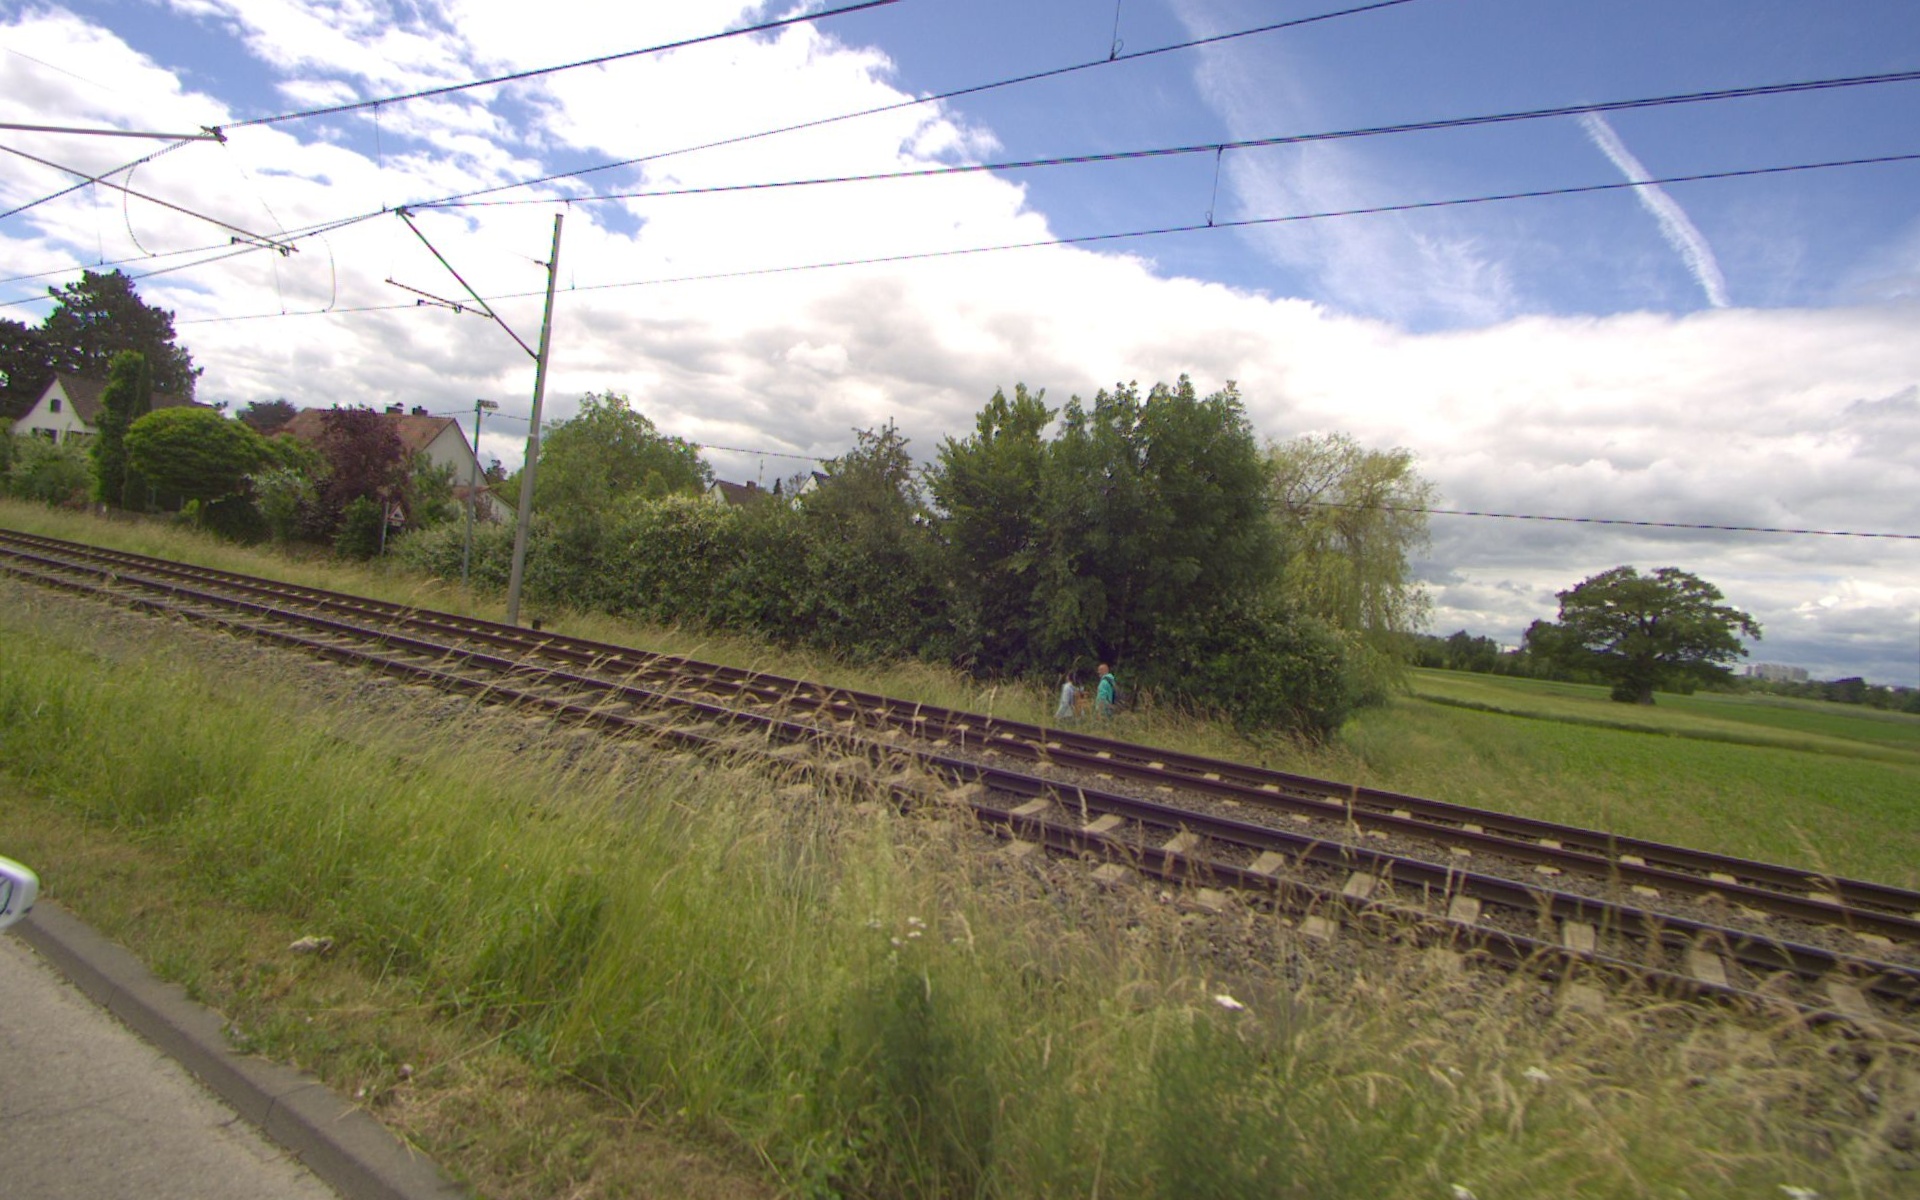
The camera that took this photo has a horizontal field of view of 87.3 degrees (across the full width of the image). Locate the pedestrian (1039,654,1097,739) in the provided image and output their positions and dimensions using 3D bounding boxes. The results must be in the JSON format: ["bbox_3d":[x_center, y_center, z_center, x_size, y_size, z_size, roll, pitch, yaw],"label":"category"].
[{"bbox_3d":[1.970,1.763,18.428,0.595,1.447,0.659,8,-1,-39],"label":"pedestrian"}]

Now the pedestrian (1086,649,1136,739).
[{"bbox_3d":[2.915,1.808,19.404,0.574,1.641,0.617,7,-1,32],"label":"pedestrian"}]
